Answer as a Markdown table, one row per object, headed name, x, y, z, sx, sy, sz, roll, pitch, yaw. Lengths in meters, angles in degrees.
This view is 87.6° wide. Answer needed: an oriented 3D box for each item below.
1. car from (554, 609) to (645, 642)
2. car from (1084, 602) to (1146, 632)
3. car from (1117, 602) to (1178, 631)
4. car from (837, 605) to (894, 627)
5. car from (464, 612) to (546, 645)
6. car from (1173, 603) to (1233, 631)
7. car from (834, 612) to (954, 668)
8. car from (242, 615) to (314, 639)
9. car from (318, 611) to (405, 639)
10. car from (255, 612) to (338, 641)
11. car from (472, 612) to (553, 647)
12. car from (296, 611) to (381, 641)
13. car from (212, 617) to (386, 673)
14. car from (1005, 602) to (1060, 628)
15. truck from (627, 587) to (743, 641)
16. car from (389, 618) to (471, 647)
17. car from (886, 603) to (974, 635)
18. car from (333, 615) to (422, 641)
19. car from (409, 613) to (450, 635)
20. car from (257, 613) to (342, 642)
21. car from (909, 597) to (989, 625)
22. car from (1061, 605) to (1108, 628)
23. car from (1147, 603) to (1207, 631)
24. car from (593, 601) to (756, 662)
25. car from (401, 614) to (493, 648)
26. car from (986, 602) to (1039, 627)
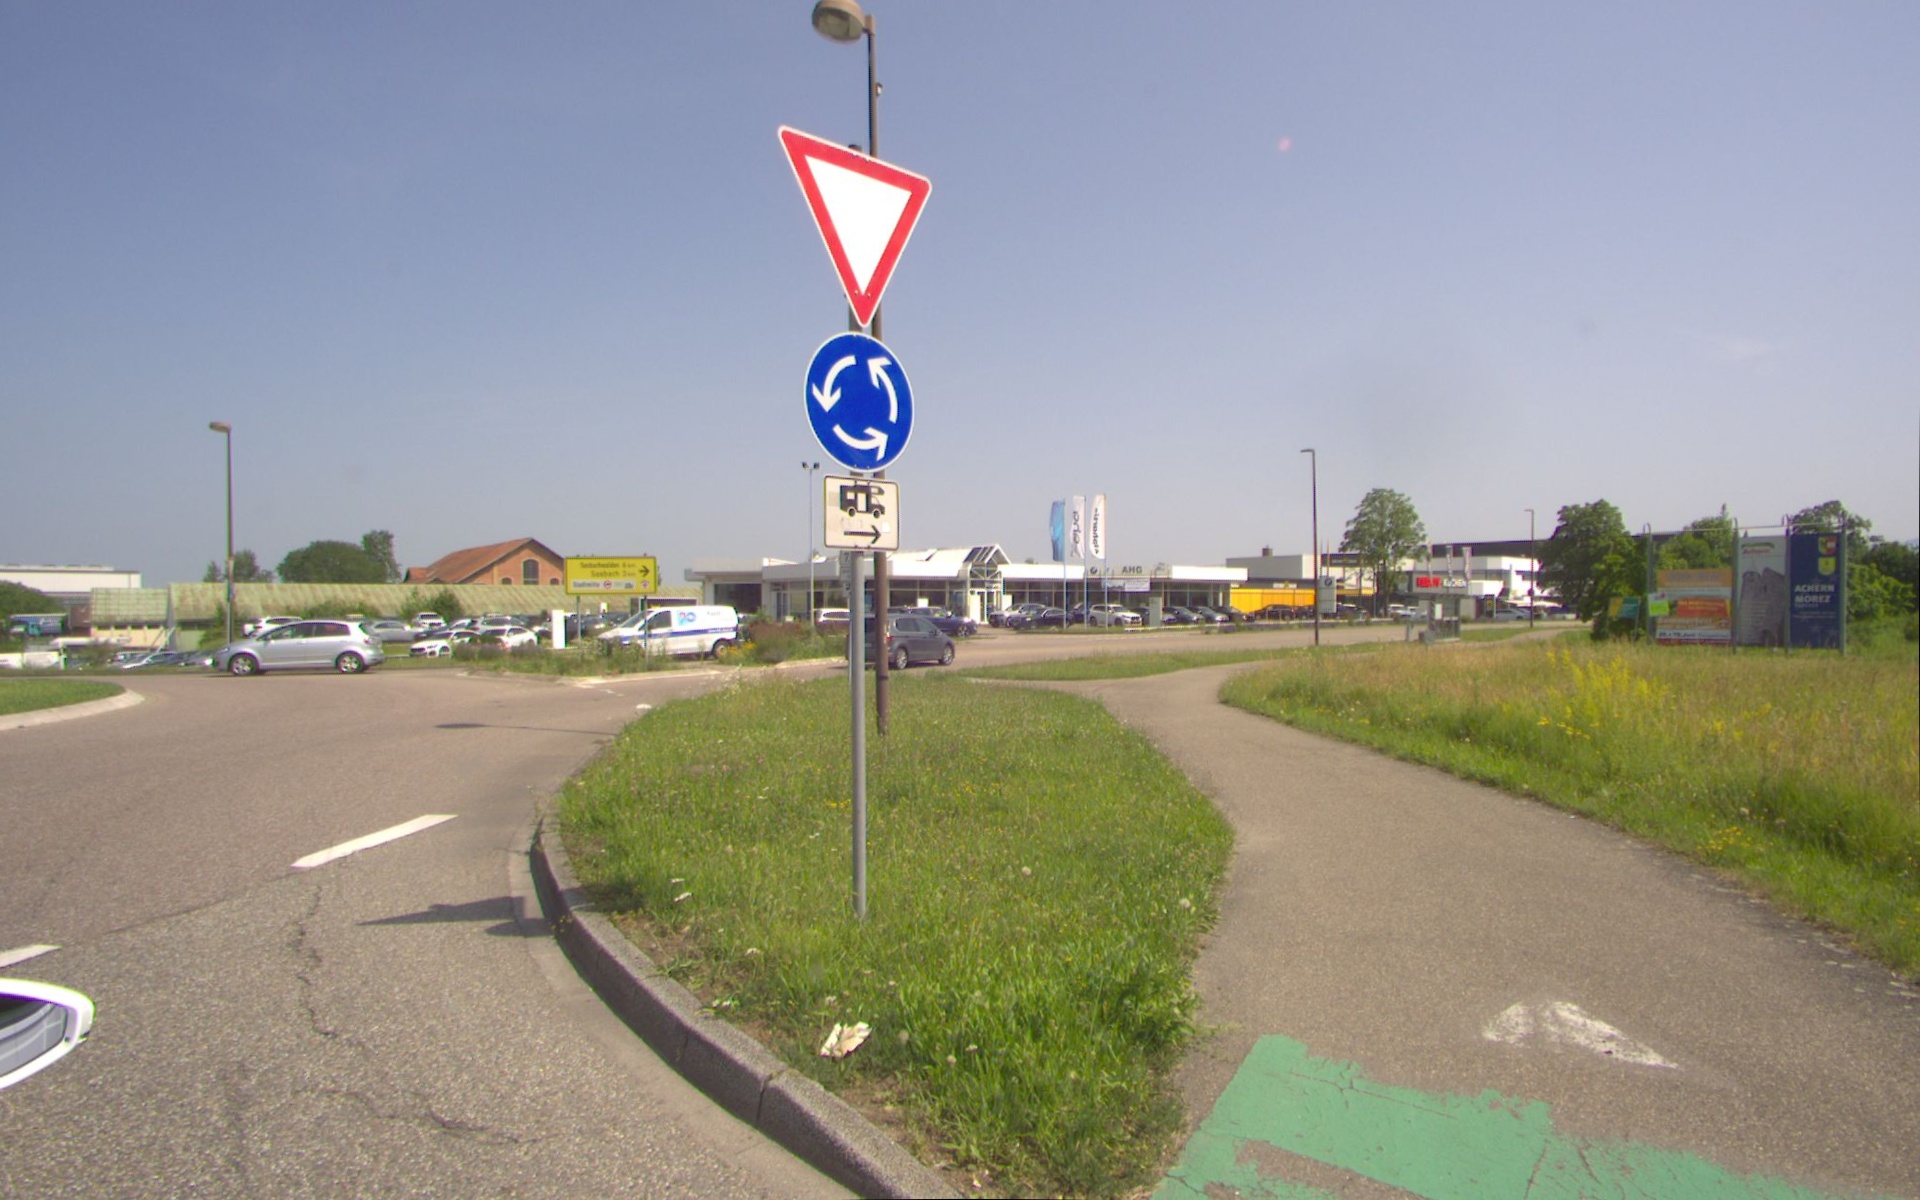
| name | x | y | z | sx | sy | sz | roll | pitch | yaw |
| --- | --- | --- | --- | --- | --- | --- | --- | --- | --- |
| car | -20.349 | 1.417 | 56.579 | 4.379 | 1.520 | 1.932 | -4 | 1 | -43 |
| car | 11.264 | 1.240 | 72.807 | 1.977 | 2.039 | 4.229 | 1 | -3 | -38 |
| car | 13.954 | 1.291 | 74.769 | 1.977 | 2.039 | 4.229 | 1 | -3 | -38 |
| car | -7.250 | 1.229 | 77.061 | 3.992 | 1.607 | 1.895 | -1 | 0 | -37 |
| car | -26.753 | 1.657 | 58.988 | 3.966 | 1.774 | 1.931 | -2 | 1 | -43 |
| car | 18.926 | 1.378 | 78.187 | 1.977 | 2.039 | 4.229 | 1 | -3 | -38 |
| car | -1.890 | 1.134 | 29.792 | 1.746 | 1.503 | 4.025 | -1 | 0 | 27 |
| car | -46.600 | 1.838 | 68.469 | 3.847 | 1.553 | 1.752 | -1 | 0 | -43 |
| car | -37.816 | 1.556 | 63.326 | 4.422 | 1.656 | 1.932 | -1 | 0 | -43 |
| car | -44.590 | 1.771 | 67.322 | 4.422 | 1.770 | 1.822 | -1 | 0 | -43 |
| car | -24.036 | 1.539 | 53.993 | 1.734 | 1.592 | 4.661 | -1 | 2 | 8 |
| car | -40.282 | 1.664 | 64.956 | 4.422 | 1.770 | 1.932 | -1 | 0 | -43 |
| car | -19.100 | 1.288 | 29.166 | 4.025 | 1.549 | 1.778 | 1 | -2 | -28 |
| car | 4.891 | 1.066 | 67.716 | 3.657 | 1.675 | 1.569 | 1 | -3 | -40 |
| truck | -14.348 | 0.687 | 52.472 | 5.558 | 2.700 | 1.935 | -1 | 0 | -37 |
| car | -30.906 | 1.859 | 58.439 | 3.959 | 1.546 | 1.935 | -1 | 0 | -37 |
| car | -1.559 | 0.940 | 51.406 | 4.293 | 1.532 | 1.908 | -1 | 0 | -10 |
| car | -35.819 | 1.697 | 61.607 | 4.422 | 1.520 | 1.931 | -1 | 0 | -43 |
| car | -41.087 | 1.837 | 77.508 | 1.901 | 1.617 | 4.268 | -1 | 0 | -40 |
| car | -43.307 | 1.764 | 65.708 | 4.422 | 1.770 | 1.822 | -1 | 0 | -43 |
| car | -0.653 | 0.606 | 57.533 | 4.293 | 1.532 | 1.908 | -1 | 0 | -10 |
| car | 9.841 | 1.321 | 79.070 | 3.657 | 1.675 | 1.569 | 1 | -3 | -40 |
| car | 16.502 | 1.325 | 76.274 | 1.977 | 2.039 | 4.229 | 1 | -3 | -38 |
| car | -9.864 | 1.098 | 34.809 | 5.167 | 1.962 | 1.848 | 1 | -3 | -37 |
| car | -26.996 | 1.608 | 52.895 | 1.736 | 1.591 | 4.572 | -2 | 0 | 14 |
| car | 3.704 | 1.017 | 70.265 | 3.657 | 1.675 | 1.569 | 1 | -3 | -40 |
